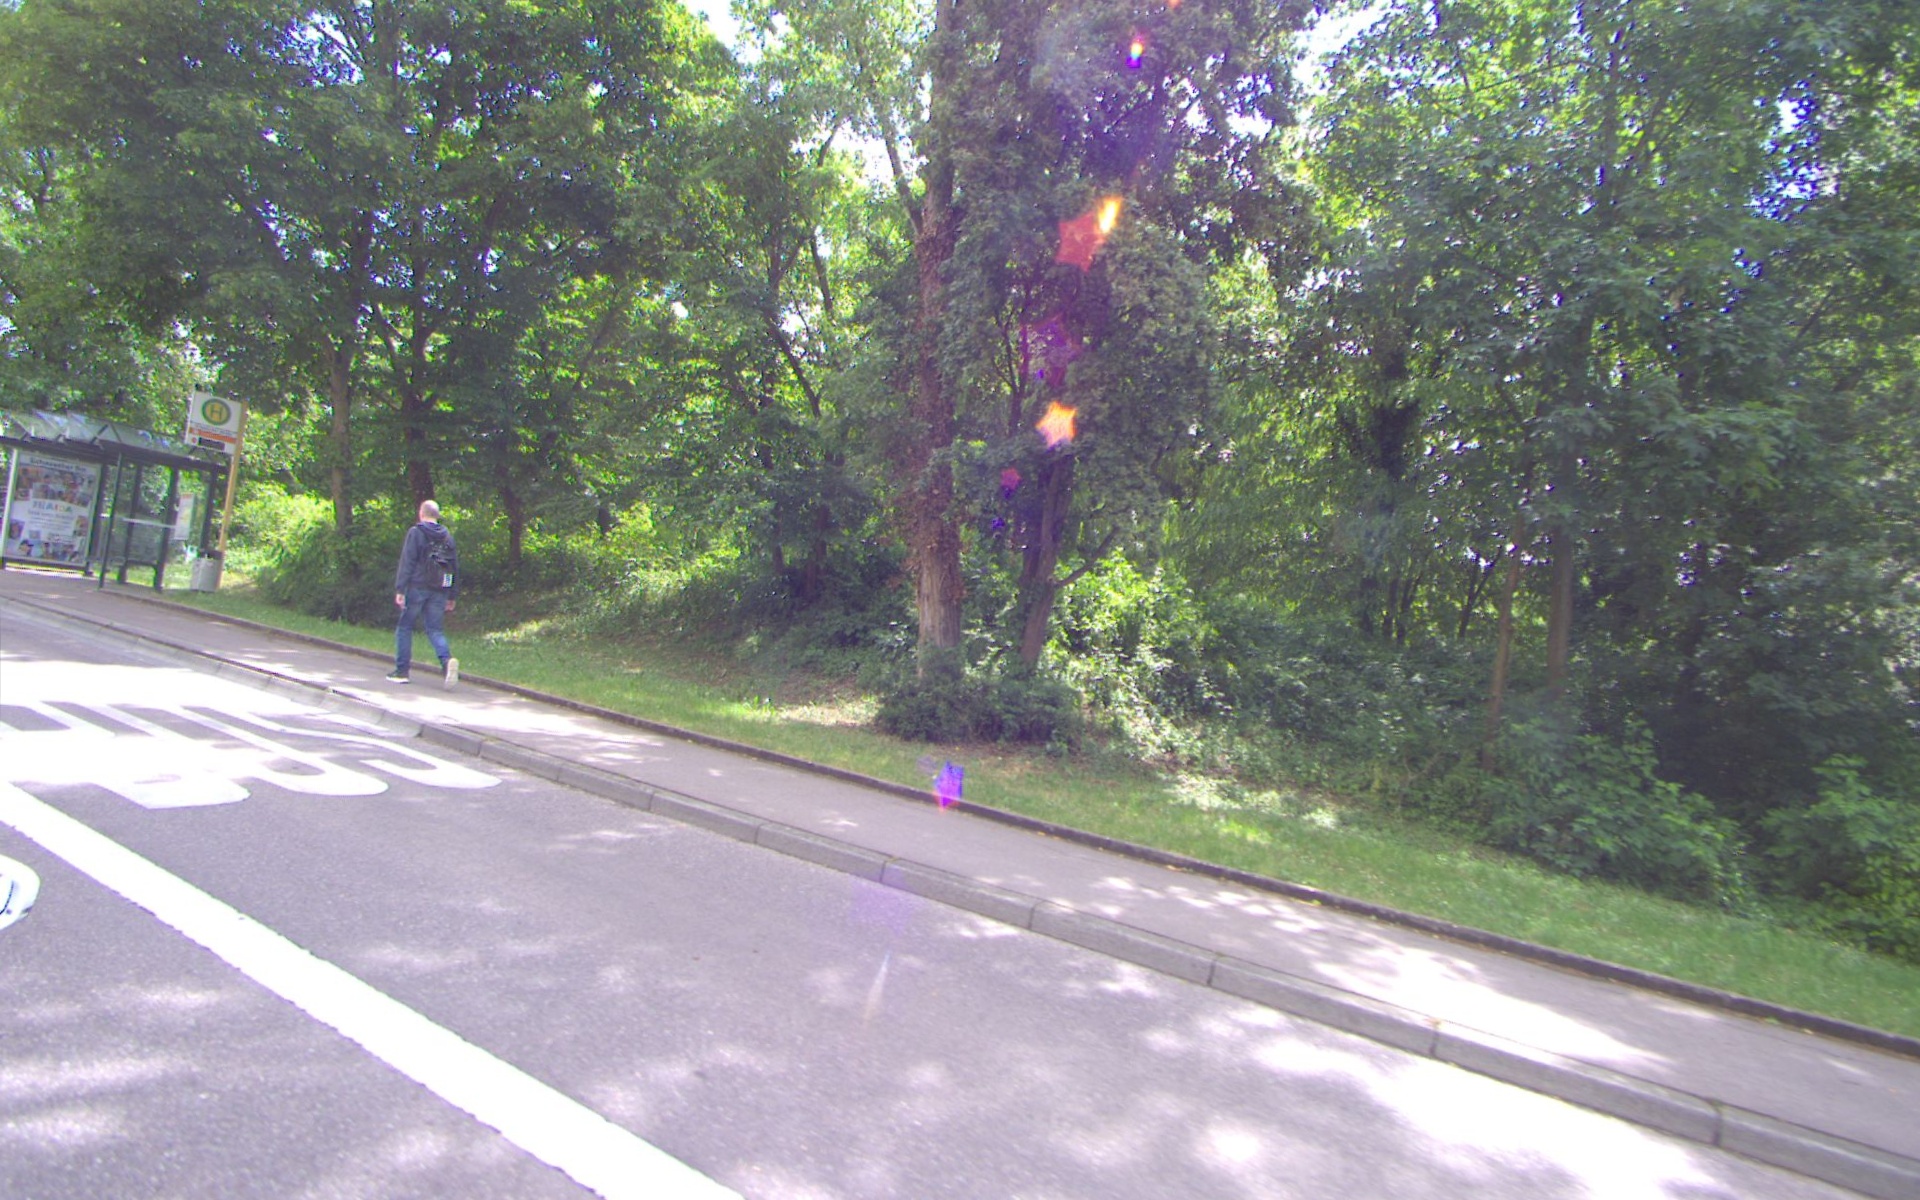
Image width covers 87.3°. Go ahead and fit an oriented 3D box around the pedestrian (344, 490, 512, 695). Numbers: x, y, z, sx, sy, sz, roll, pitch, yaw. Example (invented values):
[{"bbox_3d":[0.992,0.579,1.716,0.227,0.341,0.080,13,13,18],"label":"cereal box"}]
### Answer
[{"bbox_3d":[-5.492,-0.077,10.395,1.249,1.917,0.802,7,-1,32],"label":"pedestrian"}]
